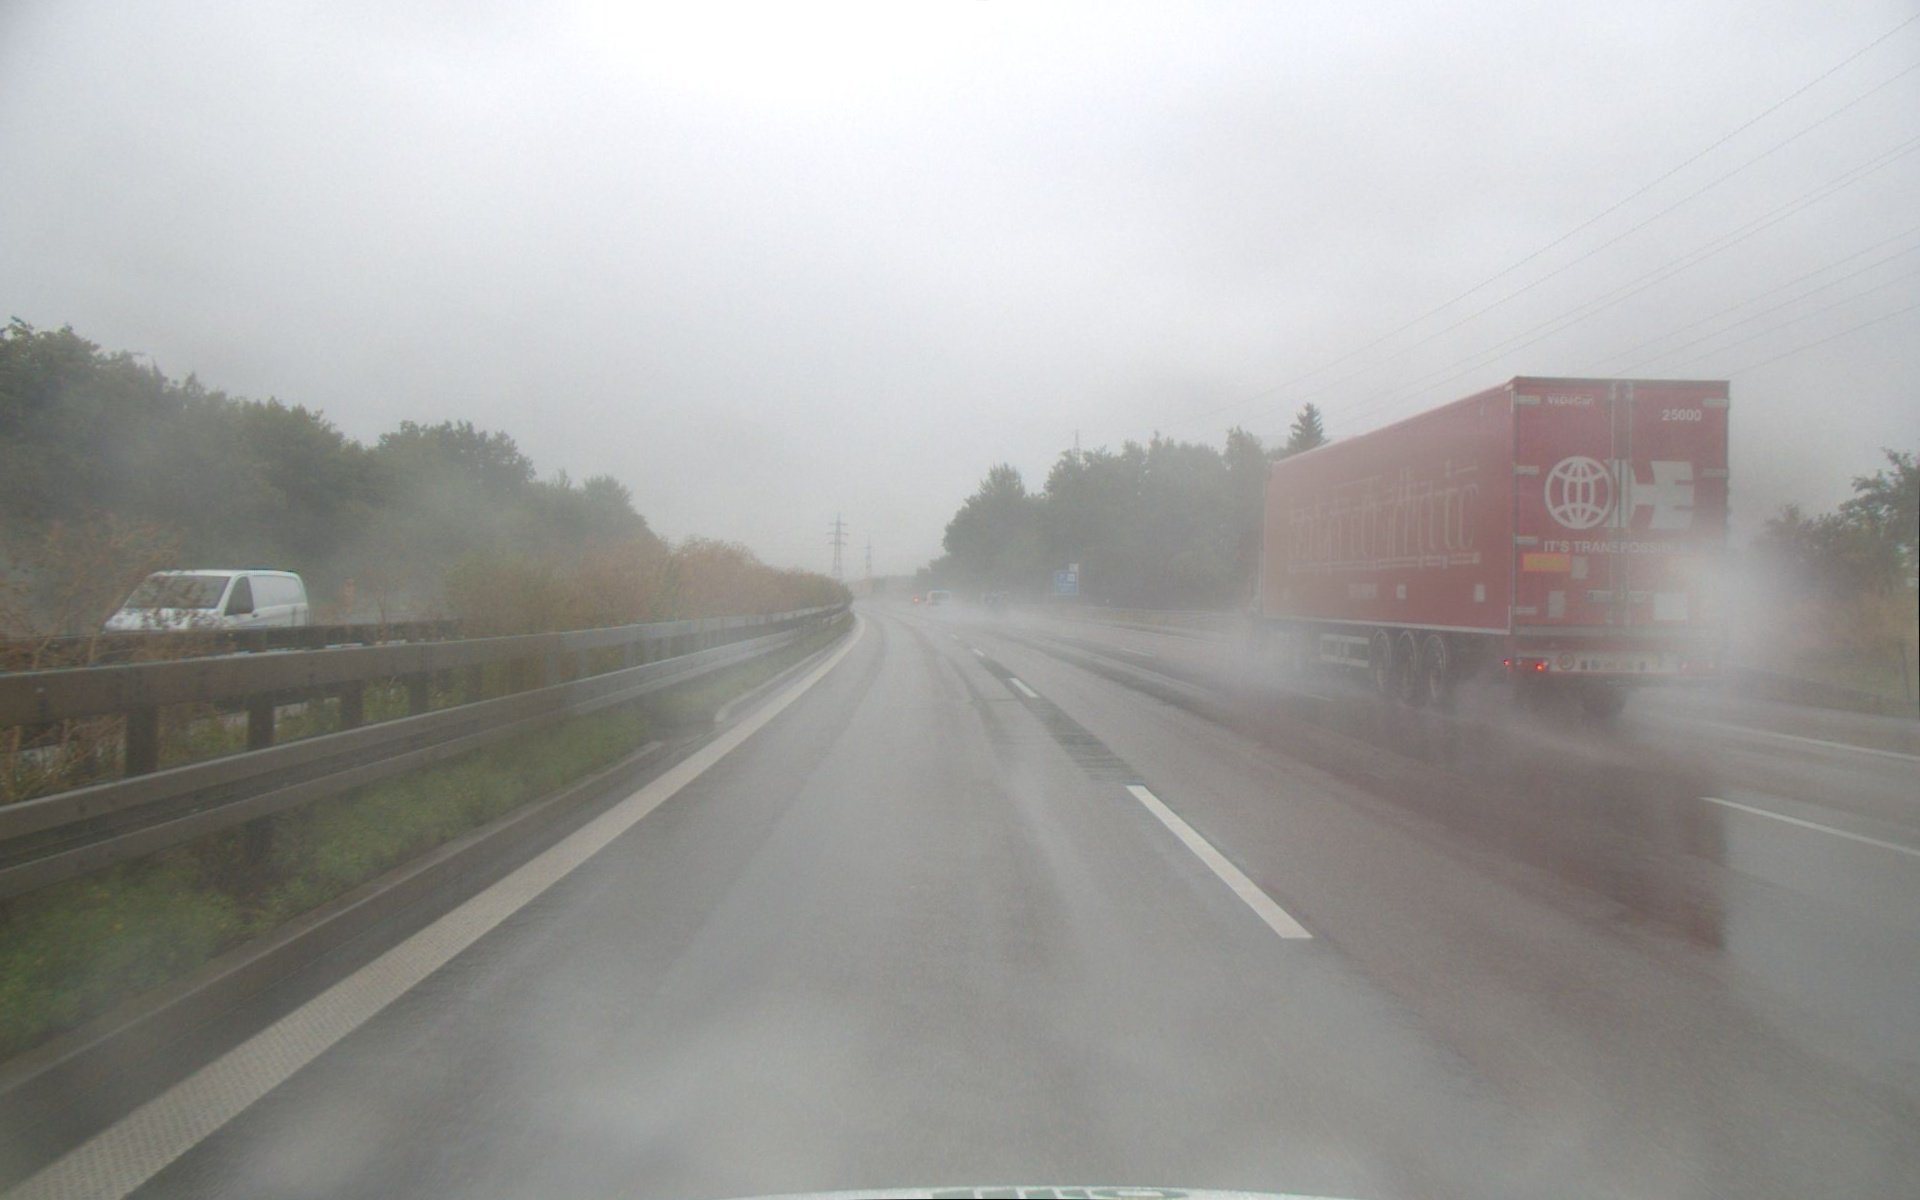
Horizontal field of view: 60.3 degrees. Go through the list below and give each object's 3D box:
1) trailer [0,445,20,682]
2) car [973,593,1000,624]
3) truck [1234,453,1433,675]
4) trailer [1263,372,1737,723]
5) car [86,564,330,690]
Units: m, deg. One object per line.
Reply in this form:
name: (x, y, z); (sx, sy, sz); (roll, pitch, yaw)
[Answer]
trailer: (-16.957, -0.598, 21.597); (2.546, 3.898, 12.209); (0, 0, -1)
car: (1.935, 0.609, 119.564); (1.770, 2.196, 3.999); (0, 0, -2)
truck: (7.262, -0.664, 32.847); (2.567, 4.024, 5.431); (0, 0, -2)
trailer: (7.457, -0.617, 25.818); (2.567, 4.024, 13.625); (0, 0, -2)
car: (-13.103, 0.425, 29.246); (1.953, 2.005, 5.391); (0, 0, -2)
